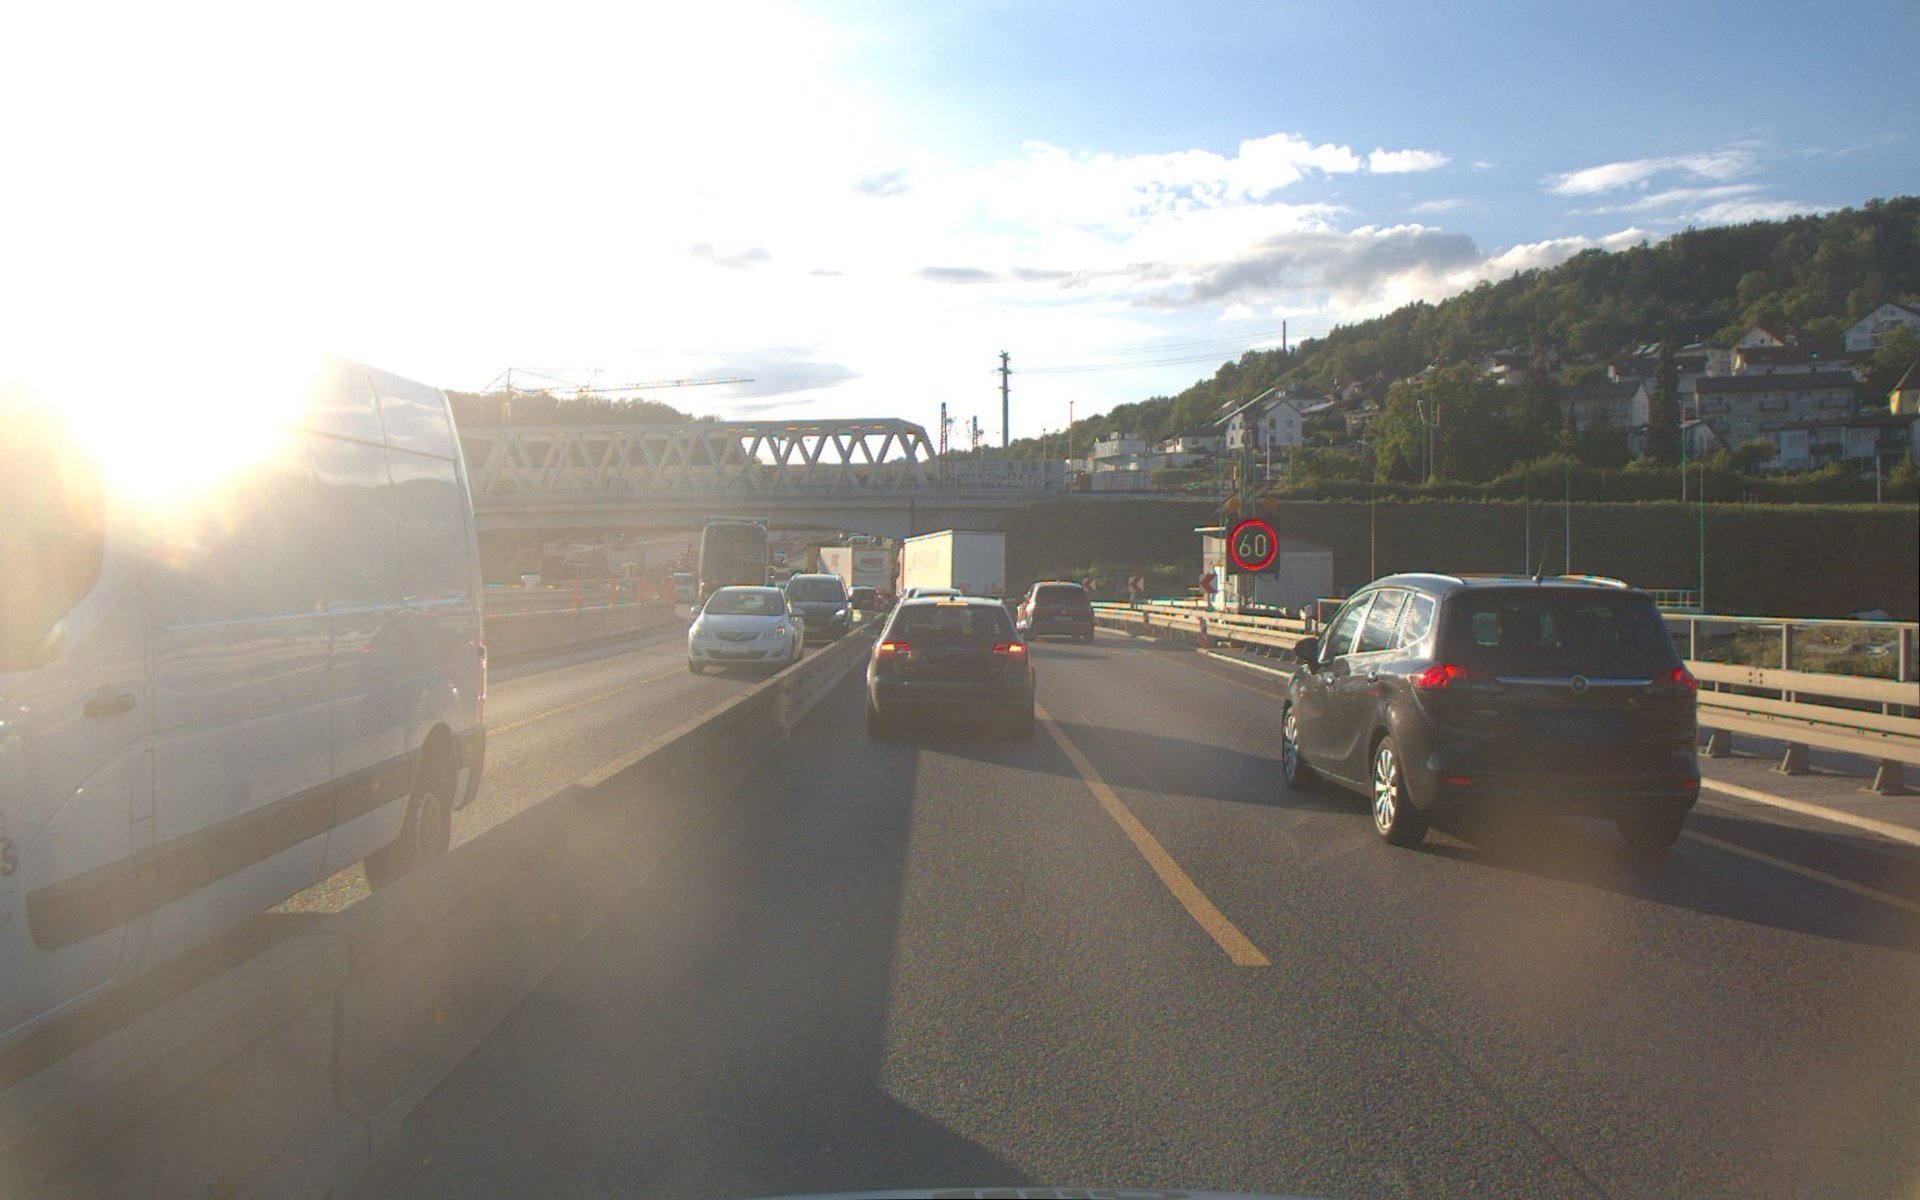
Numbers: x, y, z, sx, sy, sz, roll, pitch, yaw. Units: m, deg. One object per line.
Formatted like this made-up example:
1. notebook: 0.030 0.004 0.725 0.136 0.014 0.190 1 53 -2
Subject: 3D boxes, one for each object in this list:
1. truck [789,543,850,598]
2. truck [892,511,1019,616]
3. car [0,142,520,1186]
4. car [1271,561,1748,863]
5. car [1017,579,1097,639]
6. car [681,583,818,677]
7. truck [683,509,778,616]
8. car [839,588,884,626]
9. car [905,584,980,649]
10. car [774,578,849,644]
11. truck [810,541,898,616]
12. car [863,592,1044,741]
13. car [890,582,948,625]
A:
1. truck: -12.480 -2.676 145.588 3.821 4.576 13.812 1 1 -11
2. truck: -0.490 -1.665 80.539 3.325 4.577 15.226 1 0 -11
3. car: -3.355 0.128 5.795 2.031 2.501 6.265 1 0 -1
4. car: 3.494 0.610 11.469 1.777 1.661 4.410 1 0 -1
5. car: 2.700 0.226 46.878 1.735 1.579 3.997 2 0 -4
6. car: -3.637 0.480 29.322 1.884 1.523 4.367 1 0 -1
7. truck: -9.136 -1.449 66.852 2.872 3.958 10.258 1 1 -3
8. car: -4.877 0.323 81.377 1.668 1.763 3.990 1 1 -11
9. car: -0.492 0.385 41.740 1.730 1.512 3.998 2 0 -2
10. car: -3.731 0.256 42.102 1.756 1.566 4.364 1 0 -3
11. truck: -7.254 -1.389 110.412 3.821 4.577 15.224 1 0 -11
12. car: -0.122 0.631 17.914 1.734 1.414 3.999 0 1 -2
13. car: -1.582 0.107 61.993 1.732 1.512 3.994 2 0 -7
